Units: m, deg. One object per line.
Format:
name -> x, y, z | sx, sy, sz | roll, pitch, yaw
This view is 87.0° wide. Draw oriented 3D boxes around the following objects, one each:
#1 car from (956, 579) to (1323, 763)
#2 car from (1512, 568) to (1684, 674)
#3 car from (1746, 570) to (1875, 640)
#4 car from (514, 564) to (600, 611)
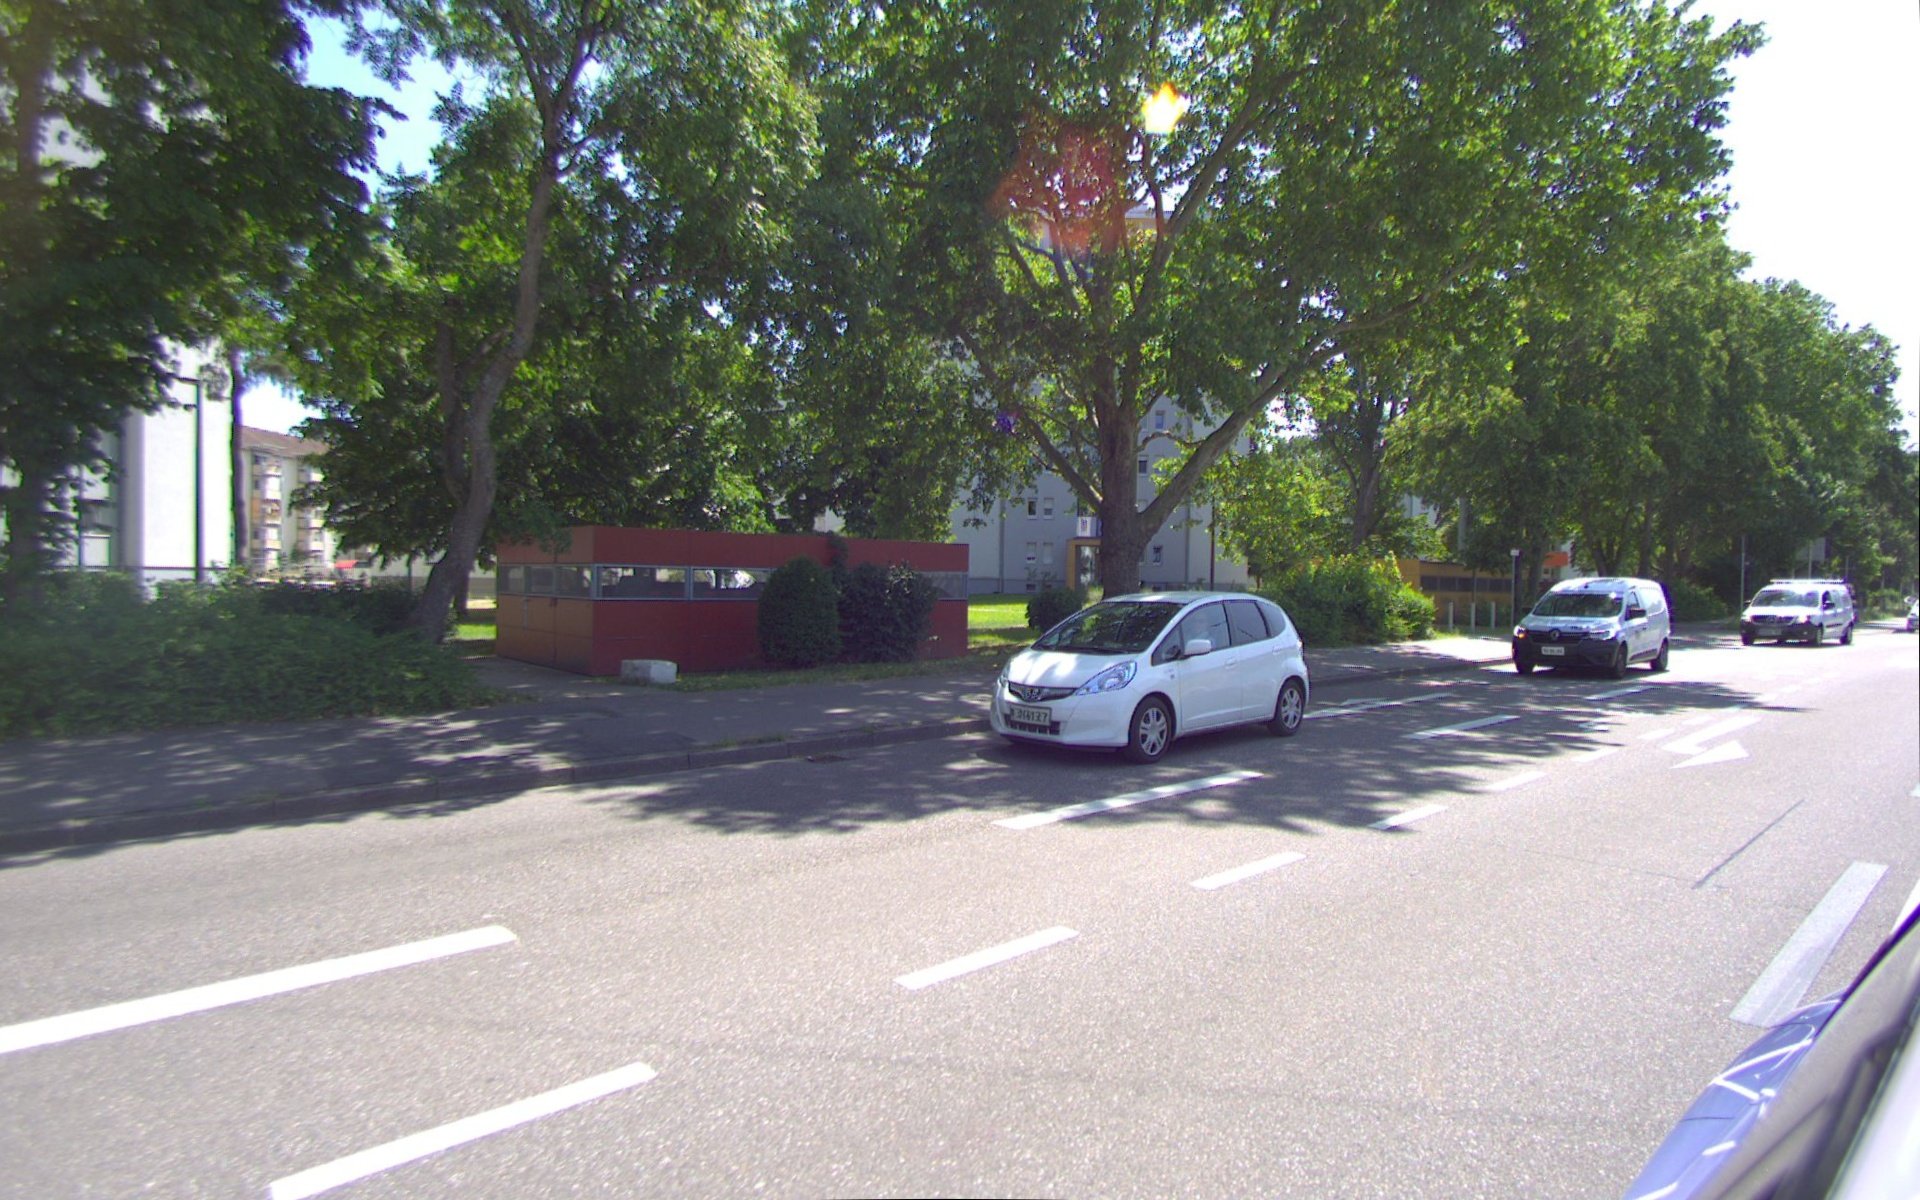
car -> 1.932, 0.569, 10.221 | 3.813, 1.507, 1.722 | 0, 0, -43
car -> 12.088, 0.342, 19.061 | 4.353, 1.769, 1.711 | 0, 0, -43
car -> 24.583, 0.121, 29.201 | 4.988, 1.879, 1.809 | 0, 0, -37
car -> -15.445, -0.460, 39.019 | 1.709, 1.722, 3.747 | 0, 0, 3
